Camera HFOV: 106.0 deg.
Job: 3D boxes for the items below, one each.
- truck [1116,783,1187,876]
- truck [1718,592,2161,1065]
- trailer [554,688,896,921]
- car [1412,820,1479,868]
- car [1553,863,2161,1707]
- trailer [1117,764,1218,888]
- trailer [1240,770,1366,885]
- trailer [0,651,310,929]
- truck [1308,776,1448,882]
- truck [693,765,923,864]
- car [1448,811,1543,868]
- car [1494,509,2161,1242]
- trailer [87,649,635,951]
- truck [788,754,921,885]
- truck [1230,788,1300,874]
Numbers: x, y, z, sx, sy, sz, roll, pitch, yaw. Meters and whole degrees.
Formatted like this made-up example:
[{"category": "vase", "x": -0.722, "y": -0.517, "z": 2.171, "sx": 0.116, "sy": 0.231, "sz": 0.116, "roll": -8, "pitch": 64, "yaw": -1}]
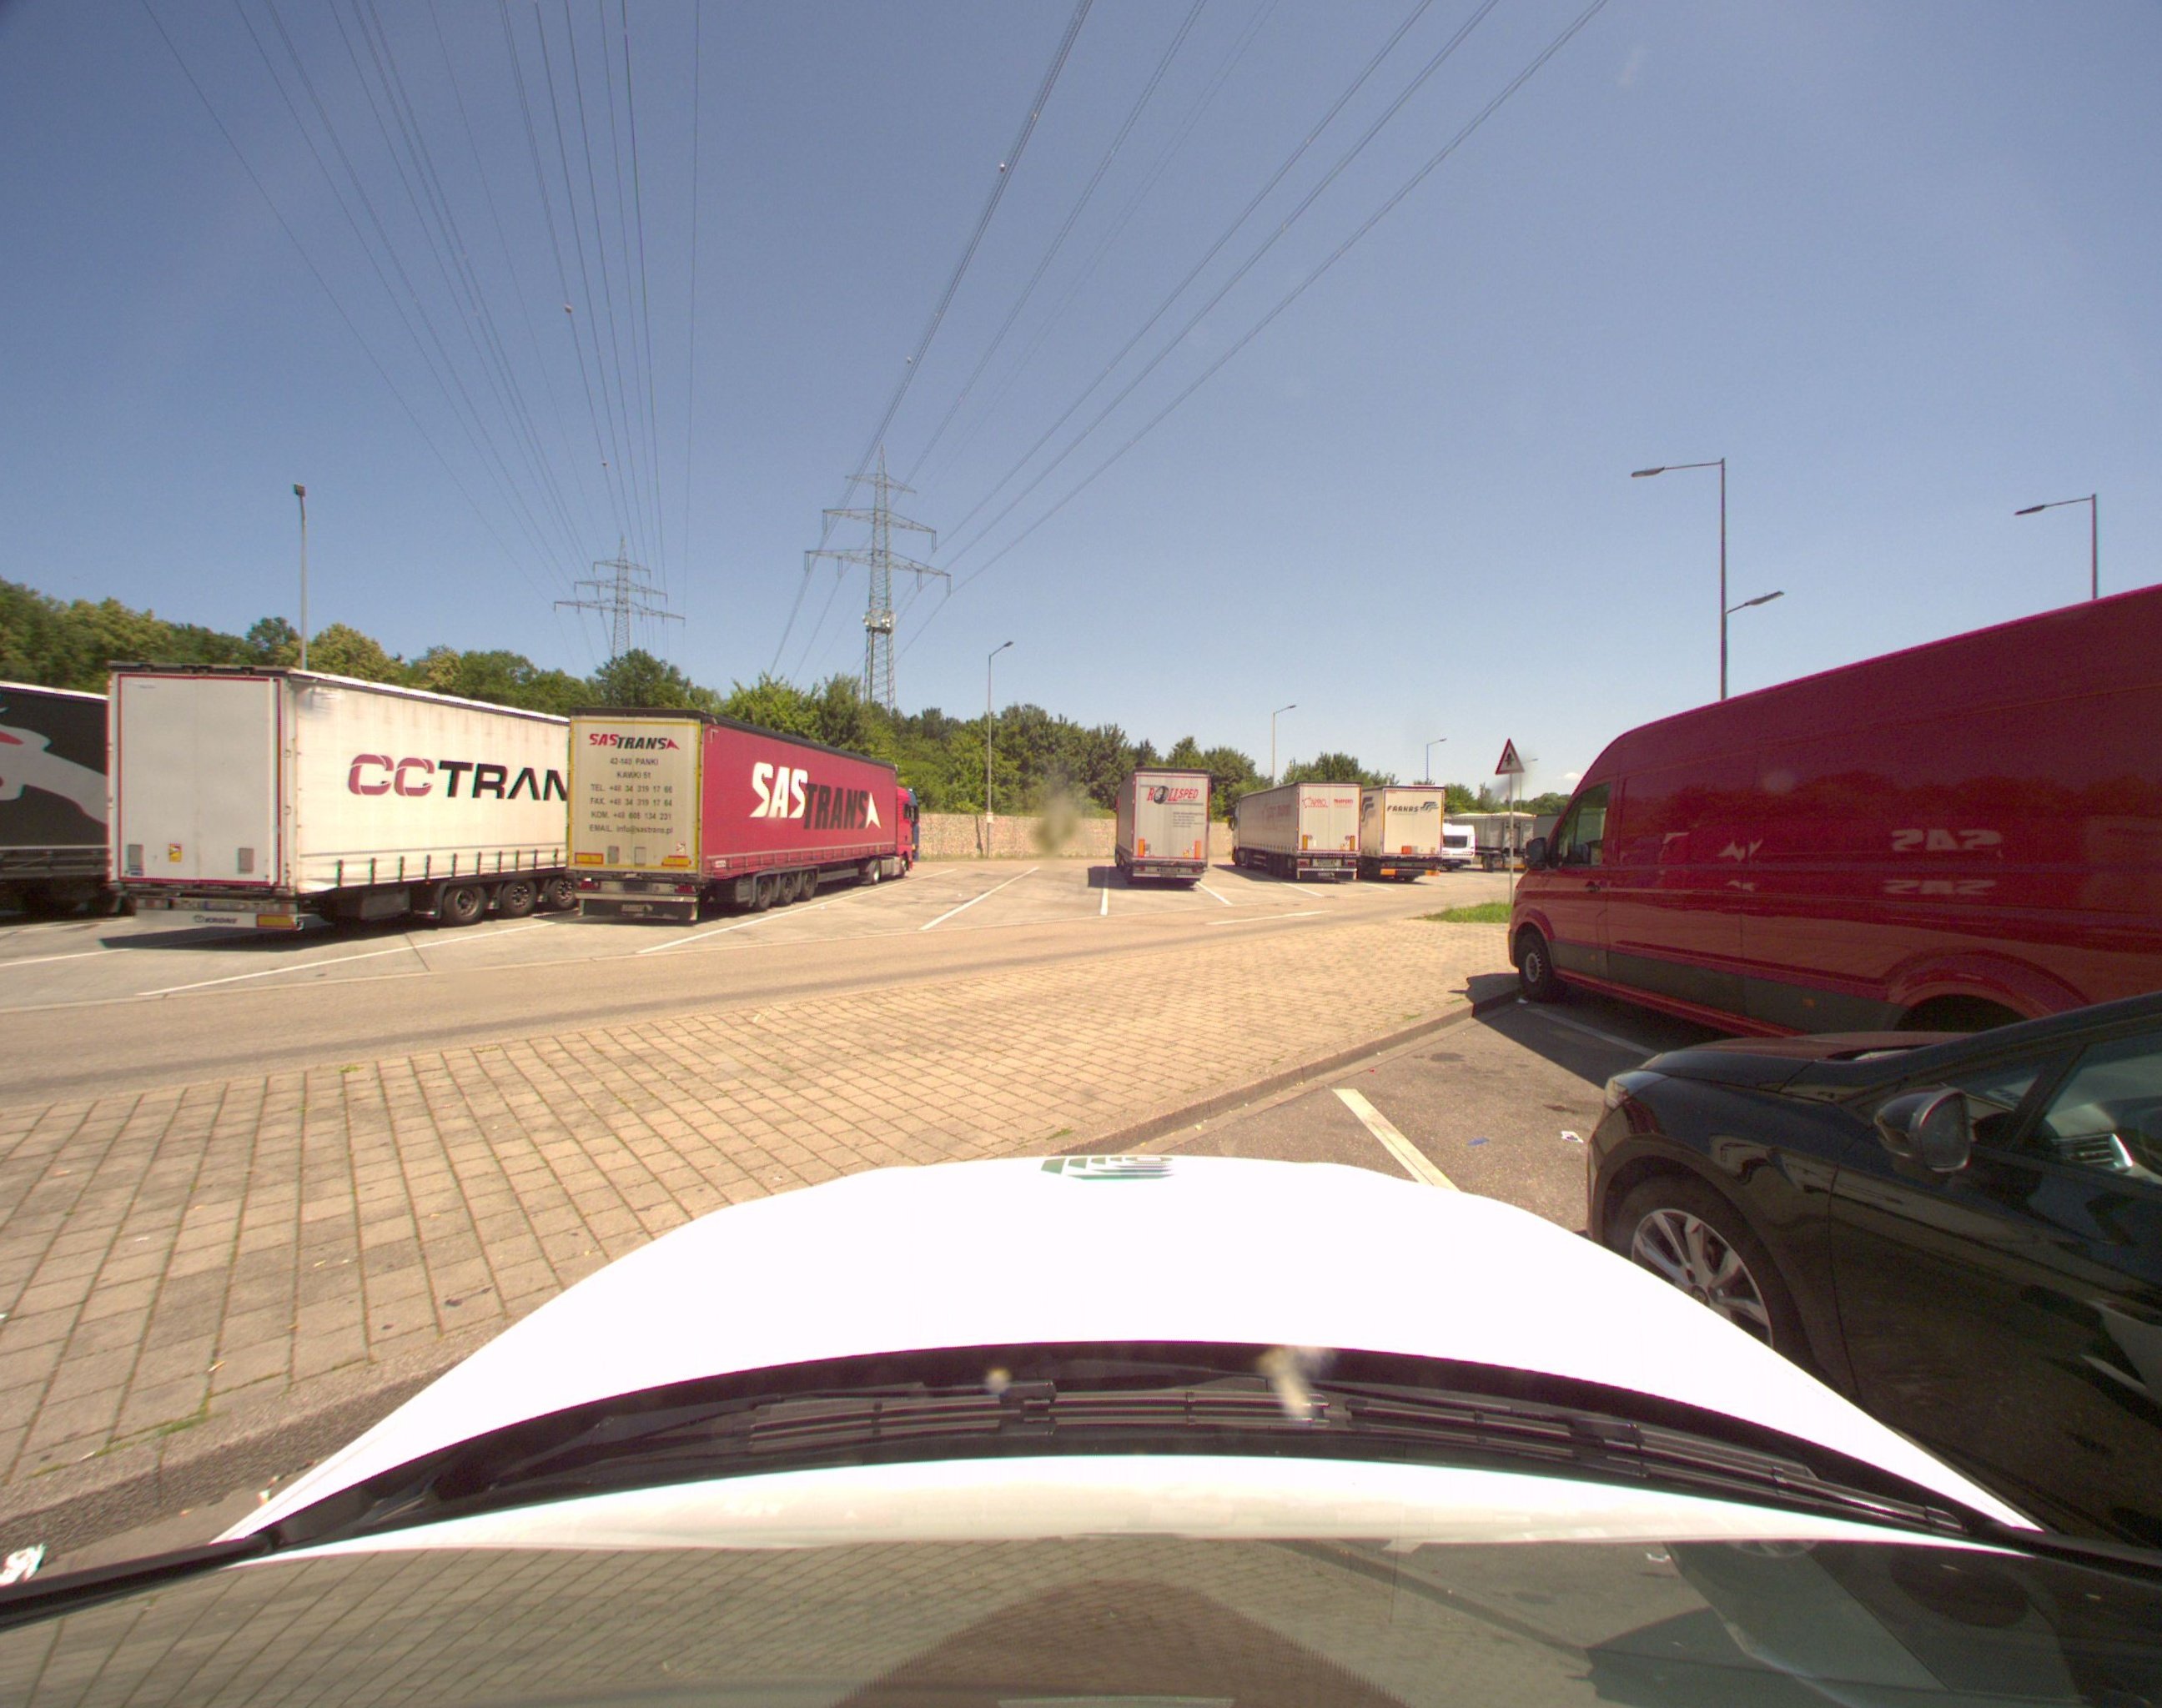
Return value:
[{"category": "truck", "x": 3.148, "y": -1.091, "z": 37.813, "sx": 2.862, "sy": 3.980, "sz": 6.030, "roll": 0, "pitch": 1, "yaw": 1}, {"category": "truck", "x": 7.799, "y": -0.150, "z": 6.069, "sx": 2.508, "sy": 2.827, "sz": 4.821, "roll": 0, "pitch": -1, "yaw": 3}, {"category": "trailer", "x": -7.996, "y": -0.997, "z": 21.460, "sx": 2.789, "sy": 4.219, "sz": 13.208, "roll": -1, "pitch": 1, "yaw": 2}, {"category": "car", "x": 20.545, "y": -0.521, "z": 46.133, "sx": 2.107, "sy": 2.599, "sz": 4.001, "roll": 0, "pitch": -1, "yaw": 2}, {"category": "car", "x": 2.545, "y": 0.752, "z": 0.929, "sx": 1.772, "sy": 1.457, "sz": 3.682, "roll": 0, "pitch": -1, "yaw": -3}, {"category": "trailer", "x": 3.089, "y": -1.005, "z": 32.227, "sx": 2.887, "sy": 4.013, "sz": 11.318, "roll": -1, "pitch": 1, "yaw": 1}, {"category": "trailer", "x": 9.909, "y": -1.115, "z": 38.147, "sx": 2.672, "sy": 4.452, "sz": 12.833, "roll": -1, "pitch": 1, "yaw": 1}, {"category": "trailer", "x": -18.554, "y": -1.044, "z": 14.975, "sx": 2.668, "sy": 4.444, "sz": 6.151, "roll": -1, "pitch": 1, "yaw": 2}, {"category": "truck", "x": 13.538, "y": -0.943, "z": 38.533, "sx": 2.577, "sy": 4.226, "sz": 11.974, "roll": 0, "pitch": -1, "yaw": 2}, {"category": "truck", "x": -12.193, "y": -1.594, "z": 37.527, "sx": 10.112, "sy": 4.033, "sz": 2.214, "roll": 0, "pitch": 0, "yaw": -44}, {"category": "car", "x": 24.143, "y": -0.825, "z": 47.754, "sx": 2.490, "sy": 3.074, "sz": 6.353, "roll": -1, "pitch": 1, "yaw": 2}, {"category": "car", "x": 5.127, "y": 0.033, "z": 5.496, "sx": 1.984, "sy": 2.633, "sz": 6.393, "roll": -1, "pitch": 1, "yaw": 5}, {"category": "trailer", "x": -12.214, "y": -0.807, "z": 15.383, "sx": 2.744, "sy": 4.152, "sz": 8.291, "roll": 0, "pitch": 1, "yaw": 2}, {"category": "truck", "x": -7.745, "y": -1.137, "z": 28.717, "sx": 2.795, "sy": 4.133, "sz": 5.896, "roll": -1, "pitch": 1, "yaw": 2}, {"category": "truck", "x": 10.084, "y": -1.235, "z": 45.181, "sx": 2.651, "sy": 4.452, "sz": 5.866, "roll": -1, "pitch": 1, "yaw": 2}]
